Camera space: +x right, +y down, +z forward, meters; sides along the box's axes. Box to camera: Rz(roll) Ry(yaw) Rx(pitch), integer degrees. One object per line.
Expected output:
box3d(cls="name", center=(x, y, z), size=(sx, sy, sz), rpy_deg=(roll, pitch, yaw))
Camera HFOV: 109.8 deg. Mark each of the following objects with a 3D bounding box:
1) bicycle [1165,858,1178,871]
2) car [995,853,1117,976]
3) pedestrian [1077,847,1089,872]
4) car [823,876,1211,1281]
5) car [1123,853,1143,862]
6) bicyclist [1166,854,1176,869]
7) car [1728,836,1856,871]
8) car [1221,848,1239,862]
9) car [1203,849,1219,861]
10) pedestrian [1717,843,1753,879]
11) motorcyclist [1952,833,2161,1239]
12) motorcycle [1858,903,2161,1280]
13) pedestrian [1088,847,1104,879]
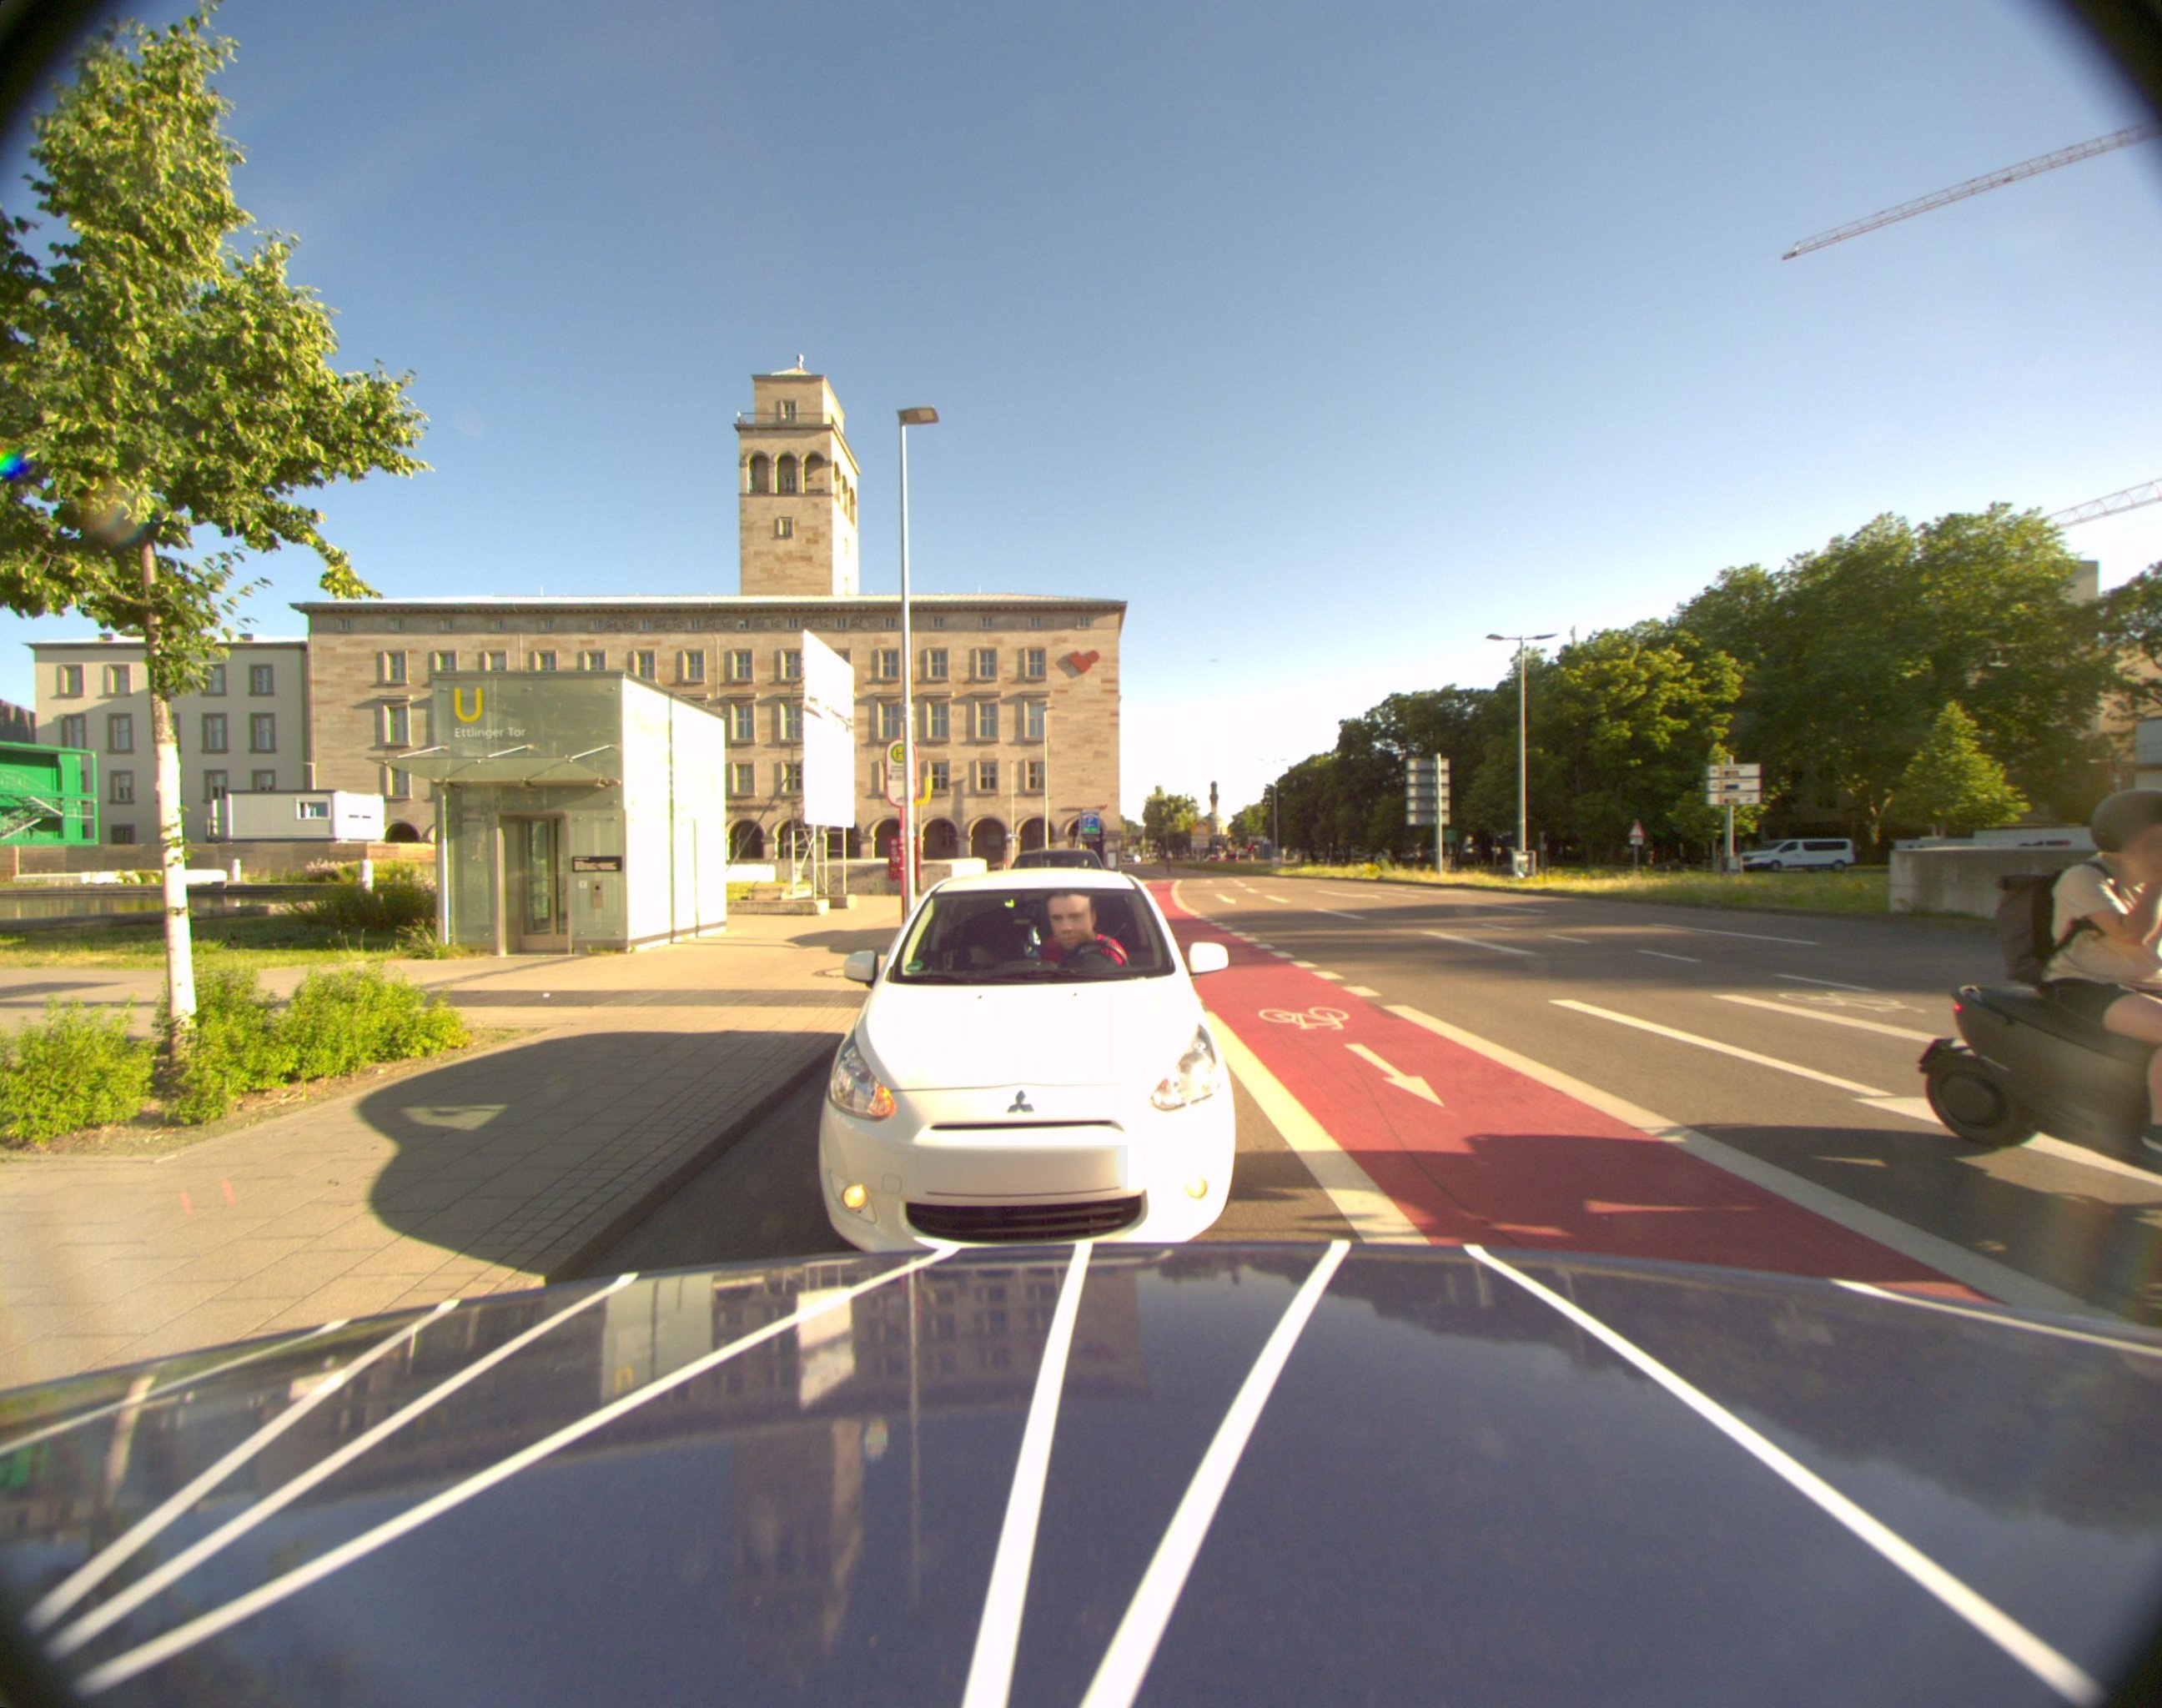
box3d(cls="bicycle", center=(8.413, 0.979, 70.672), size=(0.854, 1.109, 2.808), rpy_deg=(-2, 0, 1))
box3d(cls="car", center=(-0.372, 0.842, 12.520), size=(1.642, 1.653, 3.849), rpy_deg=(-2, 0, -1))
box3d(cls="pedestrian", center=(0.258, 0.533, 77.873), size=(1.122, 2.524, 1.055), rpy_deg=(-2, 1, 1))
box3d(cls="car", center=(-0.232, 0.955, 4.841), size=(1.496, 1.477, 3.604), rpy_deg=(-2, 0, 1))
box3d(cls="car", center=(10.020, 0.706, 145.611), size=(1.853, 1.677, 3.991), rpy_deg=(-3, 1, -29))
box3d(cls="bicyclist", center=(8.405, 0.712, 70.883), size=(0.854, 1.340, 0.829), rpy_deg=(-2, 1, 1))
box3d(cls="car", center=(42.133, -0.044, 45.115), size=(5.516, 1.924, 2.065), rpy_deg=(-1, 1, 2))
box3d(cls="car", center=(21.583, 0.137, 109.873), size=(1.819, 1.817, 3.999), rpy_deg=(-2, 1, 1))
box3d(cls="car", center=(20.581, 0.131, 120.443), size=(1.747, 1.778, 3.947), rpy_deg=(-2, 1, 1))
box3d(cls="pedestrian", center=(33.865, 0.347, 39.362), size=(0.989, 1.821, 1.019), rpy_deg=(-2, 1, -3))
box3d(cls="motorcyclist", center=(4.278, 0.656, 2.940), size=(0.727, 1.466, 0.917), rpy_deg=(-2, 0, 1))
box3d(cls="motorcycle", center=(4.285, 0.900, 2.887), size=(0.724, 1.286, 1.884), rpy_deg=(-2, 0, 1))
box3d(cls="pedestrian", center=(1.192, 0.698, 59.978), size=(1.122, 2.524, 1.055), rpy_deg=(-2, 1, 1))
